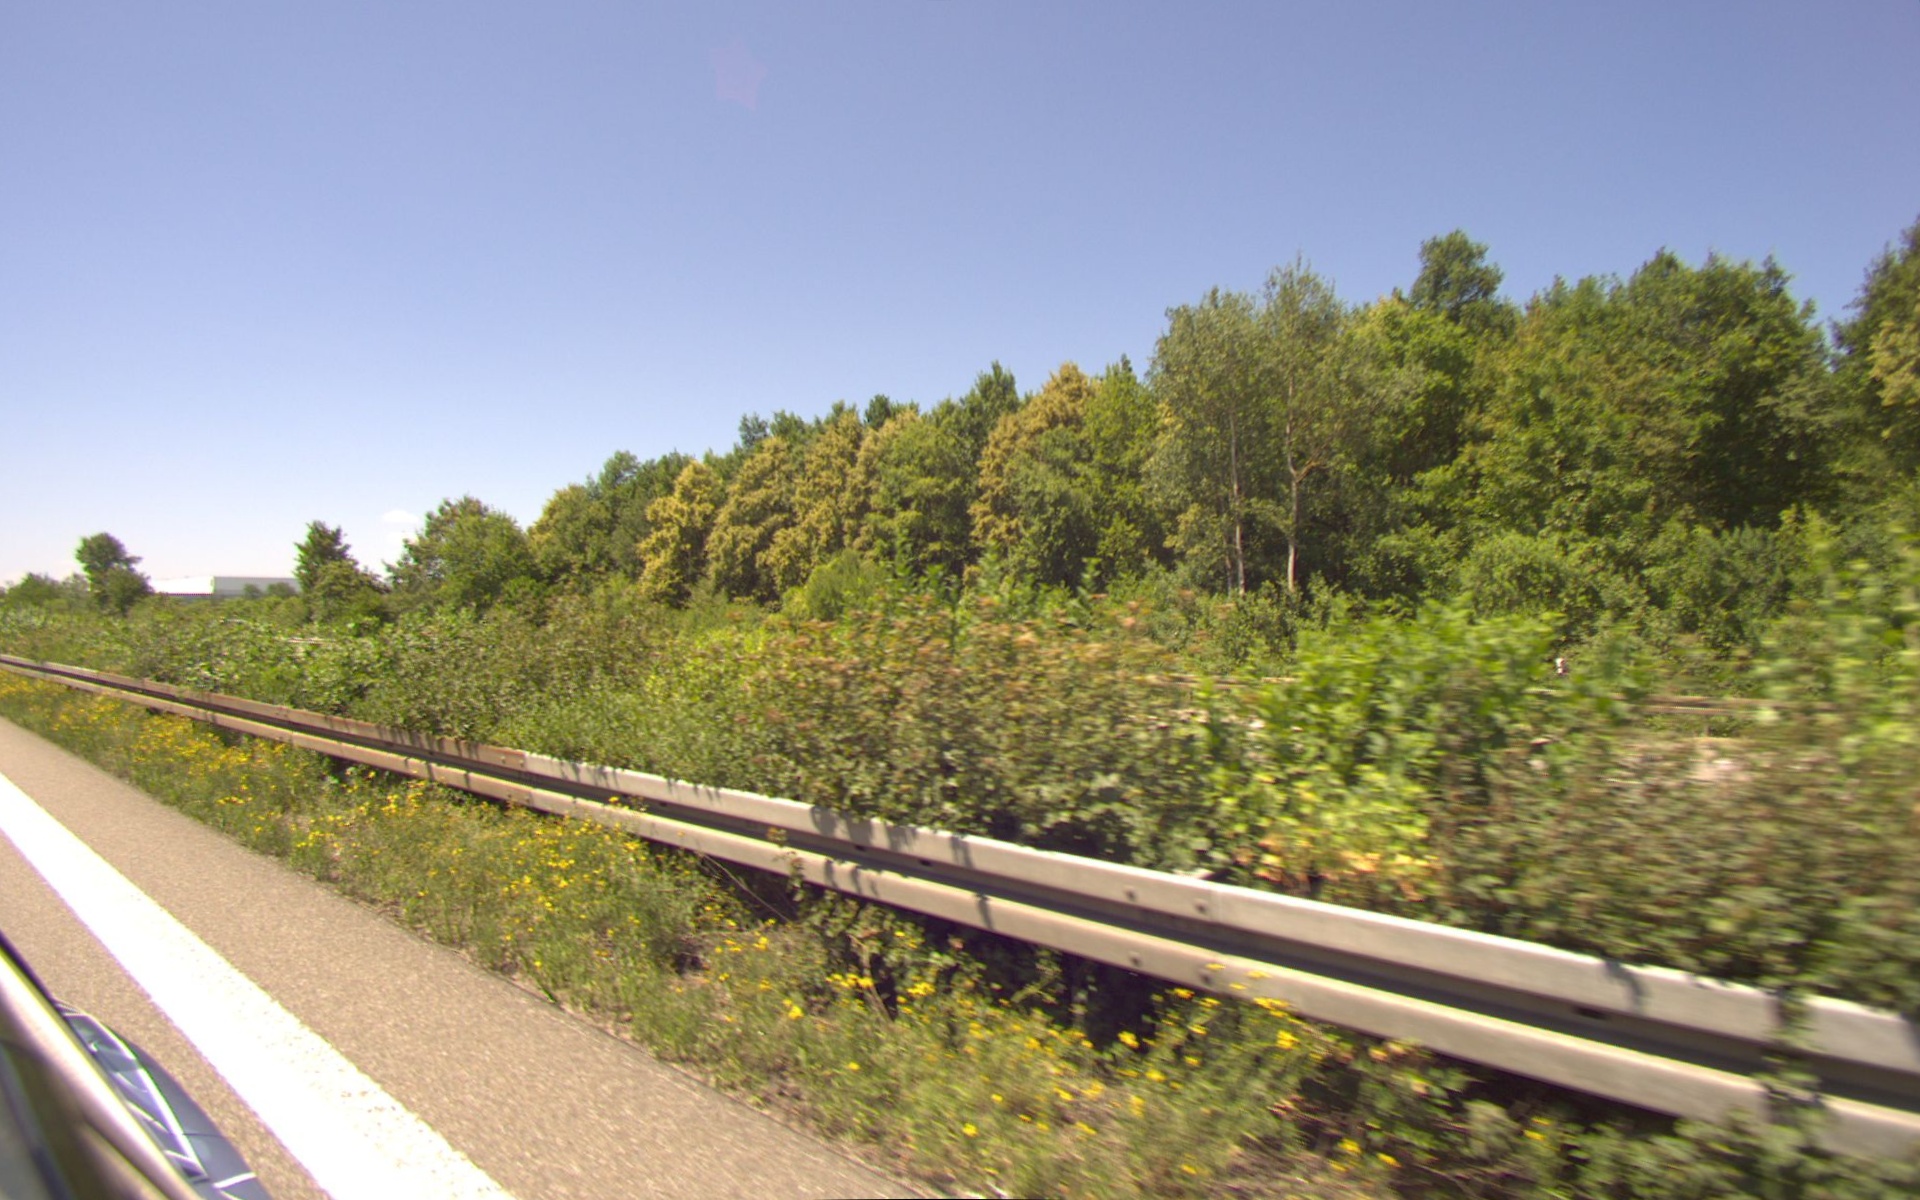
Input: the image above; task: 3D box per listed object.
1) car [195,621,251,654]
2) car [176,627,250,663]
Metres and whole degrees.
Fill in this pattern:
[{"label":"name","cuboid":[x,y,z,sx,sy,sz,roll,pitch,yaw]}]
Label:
[{"label":"car","cuboid":[-41.519,2.089,56.992,3.623,1.770,1.775,-1,-1,41]},{"label":"car","cuboid":[-32.624,1.932,44.181,3.998,1.439,1.775,-1,-1,41]}]
